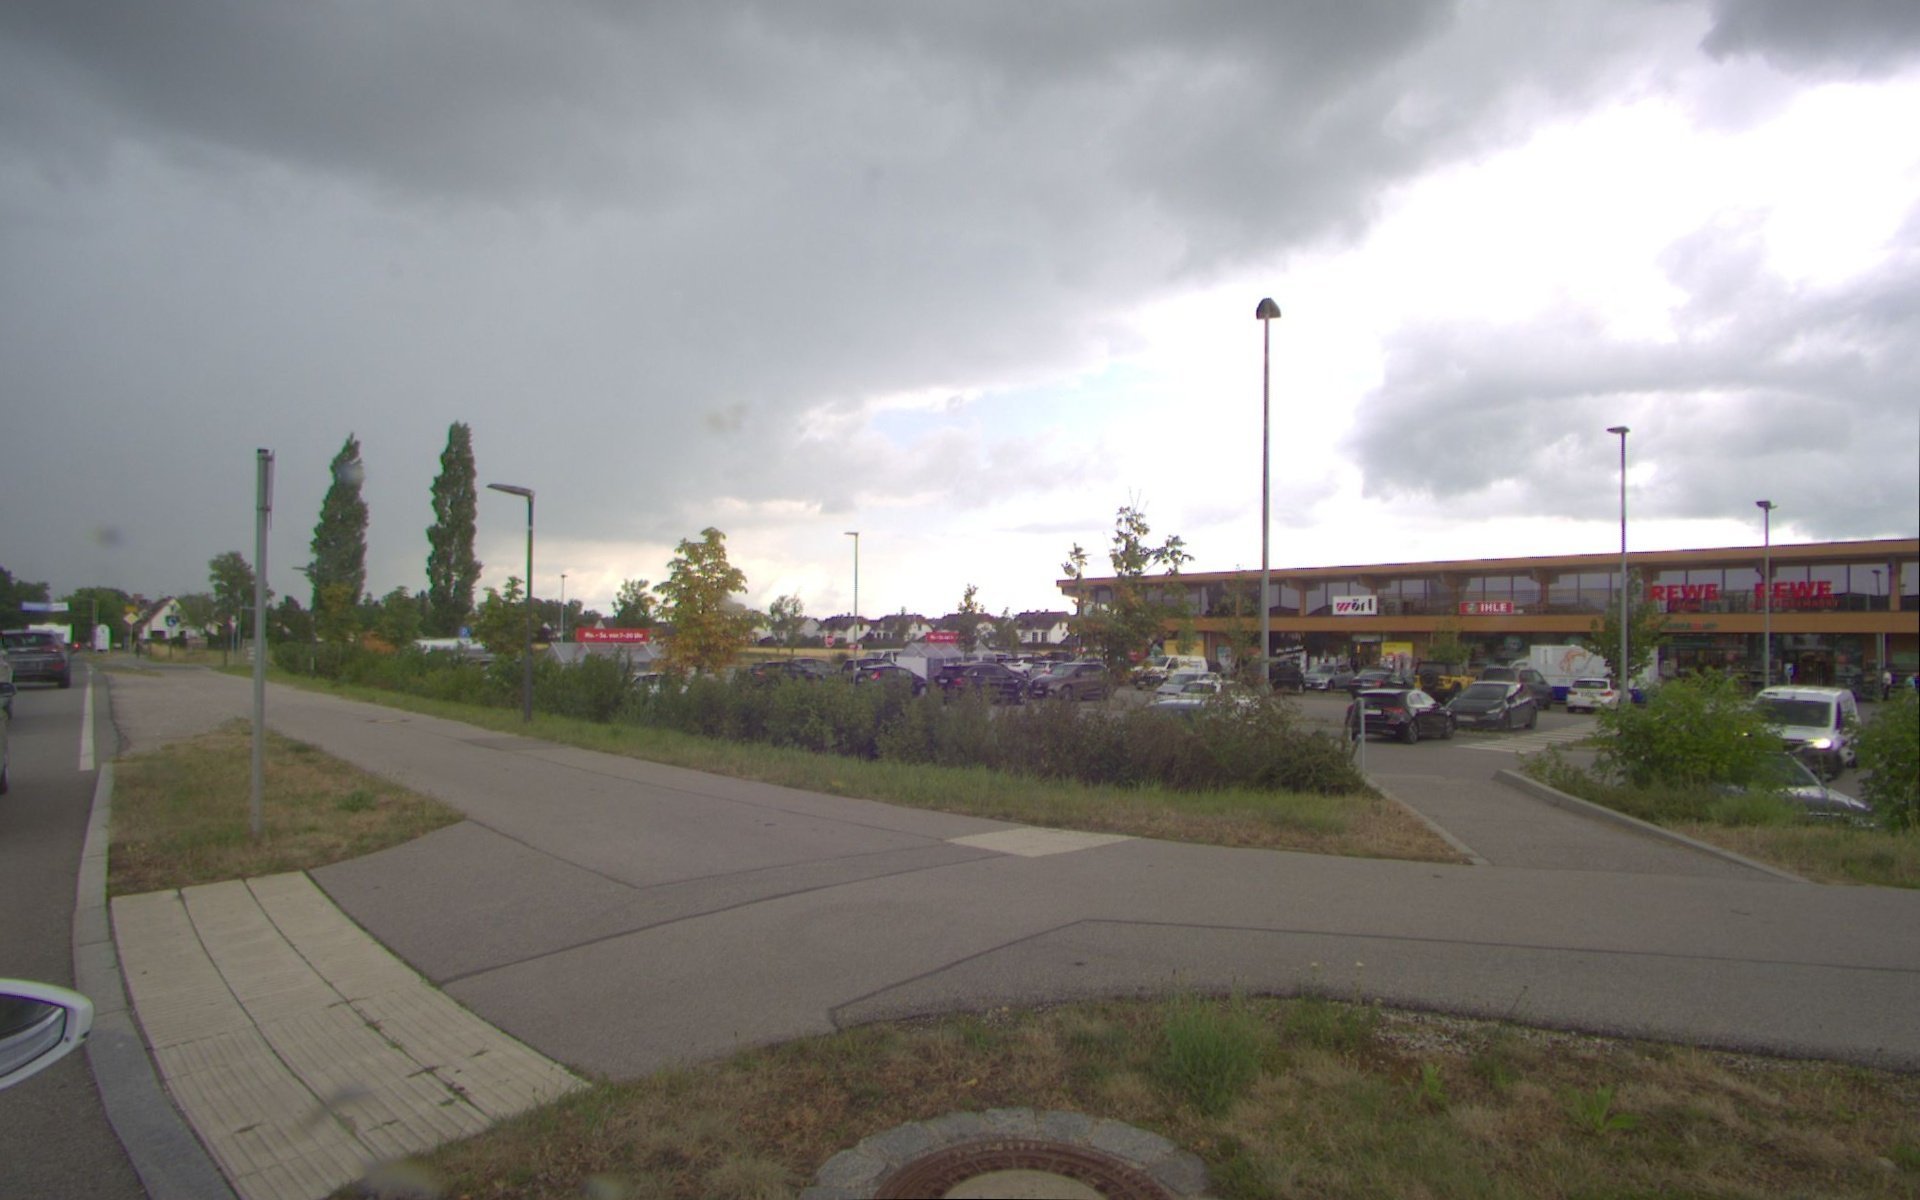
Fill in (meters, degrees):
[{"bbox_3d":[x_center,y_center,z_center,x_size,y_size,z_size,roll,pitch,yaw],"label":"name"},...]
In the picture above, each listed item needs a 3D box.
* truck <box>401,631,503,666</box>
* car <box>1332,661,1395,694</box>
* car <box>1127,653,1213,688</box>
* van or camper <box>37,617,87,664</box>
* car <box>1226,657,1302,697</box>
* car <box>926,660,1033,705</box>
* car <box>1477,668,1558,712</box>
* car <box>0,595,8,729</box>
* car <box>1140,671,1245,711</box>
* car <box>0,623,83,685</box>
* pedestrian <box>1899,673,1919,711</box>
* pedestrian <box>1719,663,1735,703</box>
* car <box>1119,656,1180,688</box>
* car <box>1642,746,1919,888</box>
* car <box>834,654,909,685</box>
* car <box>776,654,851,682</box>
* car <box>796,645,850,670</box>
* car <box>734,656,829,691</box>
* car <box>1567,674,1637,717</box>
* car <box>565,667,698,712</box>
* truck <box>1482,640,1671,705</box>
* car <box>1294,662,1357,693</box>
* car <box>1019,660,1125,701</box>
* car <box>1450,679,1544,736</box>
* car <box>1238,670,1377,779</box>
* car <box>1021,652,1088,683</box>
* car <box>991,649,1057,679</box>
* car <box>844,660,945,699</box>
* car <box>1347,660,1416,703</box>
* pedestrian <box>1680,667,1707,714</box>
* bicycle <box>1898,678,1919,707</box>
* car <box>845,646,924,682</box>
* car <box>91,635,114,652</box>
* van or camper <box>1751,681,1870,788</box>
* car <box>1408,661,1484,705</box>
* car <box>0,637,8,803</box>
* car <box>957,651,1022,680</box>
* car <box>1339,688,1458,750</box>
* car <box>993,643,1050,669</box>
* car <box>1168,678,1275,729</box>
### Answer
[{"bbox_3d":[-28.974,2.810,57.208,1.980,1.895,4.771,-2,-4,44],"label":"truck"},{"bbox_3d":[21.734,4.156,53.844,3.858,1.674,1.751,4,-4,-44],"label":"car"},{"bbox_3d":[11.718,3.932,55.700,5.250,1.853,1.983,4,-4,-42],"label":"car"},{"bbox_3d":[-66.899,3.087,74.660,2.607,3.364,6.763,3,-4,-41],"label":"van or camper"},{"bbox_3d":[15.787,3.991,51.895,3.962,1.859,1.982,6,-5,-42],"label":"car"},{"bbox_3d":[0.863,3.397,41.422,4.421,1.727,1.788,4,-4,-42],"label":"car"},{"bbox_3d":[23.777,3.792,42.670,4.081,1.746,1.836,4,-5,-43],"label":"car"},{"bbox_3d":[-15.700,0.924,15.099,1.855,1.958,3.963,2,-3,-43],"label":"car"},{"bbox_3d":[9.670,3.714,41.477,4.741,1.503,1.887,3,-3,-42],"label":"car"},{"bbox_3d":[-26.155,1.498,28.429,1.763,1.638,3.966,2,-3,-40],"label":"car"},{"bbox_3d":[42.588,4.103,44.776,0.742,1.678,0.798,2,-2,-41],"label":"pedestrian"},{"bbox_3d":[39.066,4.223,51.011,0.573,1.973,0.520,2,-2,-42],"label":"pedestrian"},{"bbox_3d":[12.198,4.645,64.484,4.076,1.917,1.781,4,-4,-43],"label":"car"},{"bbox_3d":[11.522,2.969,14.344,1.551,1.389,3.733,0,-3,11],"label":"car"},{"bbox_3d":[-4.961,3.908,56.426,3.960,1.727,1.701,3,-4,-42],"label":"car"},{"bbox_3d":[-8.879,4.099,60.848,4.280,1.597,1.753,3,-3,-40],"label":"car"},{"bbox_3d":[-11.340,4.762,83.002,3.956,1.859,1.985,6,-5,-38],"label":"car"},{"bbox_3d":[-9.315,3.798,52.343,4.525,1.685,1.983,3,-3,-42],"label":"car"},{"bbox_3d":[26.057,3.827,40.589,1.713,1.549,3.967,-1,-3,43],"label":"car"},{"bbox_3d":[-12.035,3.247,36.801,4.203,1.458,1.983,3,-3,-42],"label":"car"},{"bbox_3d":[29.030,3.330,47.367,7.183,2.842,2.951,-2,-3,44],"label":"truck"},{"bbox_3d":[20.250,4.282,55.406,1.750,1.632,4.188,-2,-4,45],"label":"car"},{"bbox_3d":[5.118,3.604,45.290,4.940,1.685,1.982,3,-3,-42],"label":"car"},{"bbox_3d":[17.088,3.361,31.797,1.713,1.572,3.967,-1,-3,43],"label":"car"},{"bbox_3d":[4.673,1.643,13.864,1.550,1.221,3.756,1,-4,15],"label":"car"},{"bbox_3d":[5.933,4.235,62.829,3.956,1.860,1.985,3,-4,-39],"label":"car"},{"bbox_3d":[4.129,4.140,64.770,3.954,1.861,1.985,2,-3,-38],"label":"car"},{"bbox_3d":[-2.988,3.621,46.131,4.373,1.685,1.983,3,-3,-42],"label":"car"},{"bbox_3d":[20.026,3.819,47.527,1.754,1.878,3.965,-1,-3,44],"label":"car"},{"bbox_3d":[33.111,4.071,45.194,0.922,2.039,0.799,-1,-2,43],"label":"pedestrian"},{"bbox_3d":[44.656,4.239,45.556,0.970,1.325,2.844,2,-3,-42],"label":"bicycle"},{"bbox_3d":[-4.644,3.928,62.113,1.975,2.039,5.091,0,-2,38],"label":"car"},{"bbox_3d":[-81.716,4.152,95.465,1.602,1.651,3.586,3,-3,-40],"label":"car"},{"bbox_3d":[19.231,2.945,22.569,1.747,2.123,4.767,-2,-6,44],"label":"van or camper"},{"bbox_3d":[22.066,3.741,45.426,3.960,1.877,1.757,3,-4,-42],"label":"car"},{"bbox_3d":[-8.279,0.974,7.360,1.772,1.409,4.094,3,-3,-43],"label":"car"},{"bbox_3d":[1.989,4.371,66.858,3.955,1.860,1.985,3,-3,-38],"label":"car"},{"bbox_3d":[12.287,3.248,27.943,1.817,1.415,3.966,-1,-3,44],"label":"car"},{"bbox_3d":[4.572,4.152,74.043,3.954,1.863,1.861,2,-3,-38],"label":"car"},{"bbox_3d":[8.575,3.321,32.683,1.665,1.503,3.962,-2,-4,44],"label":"car"}]
